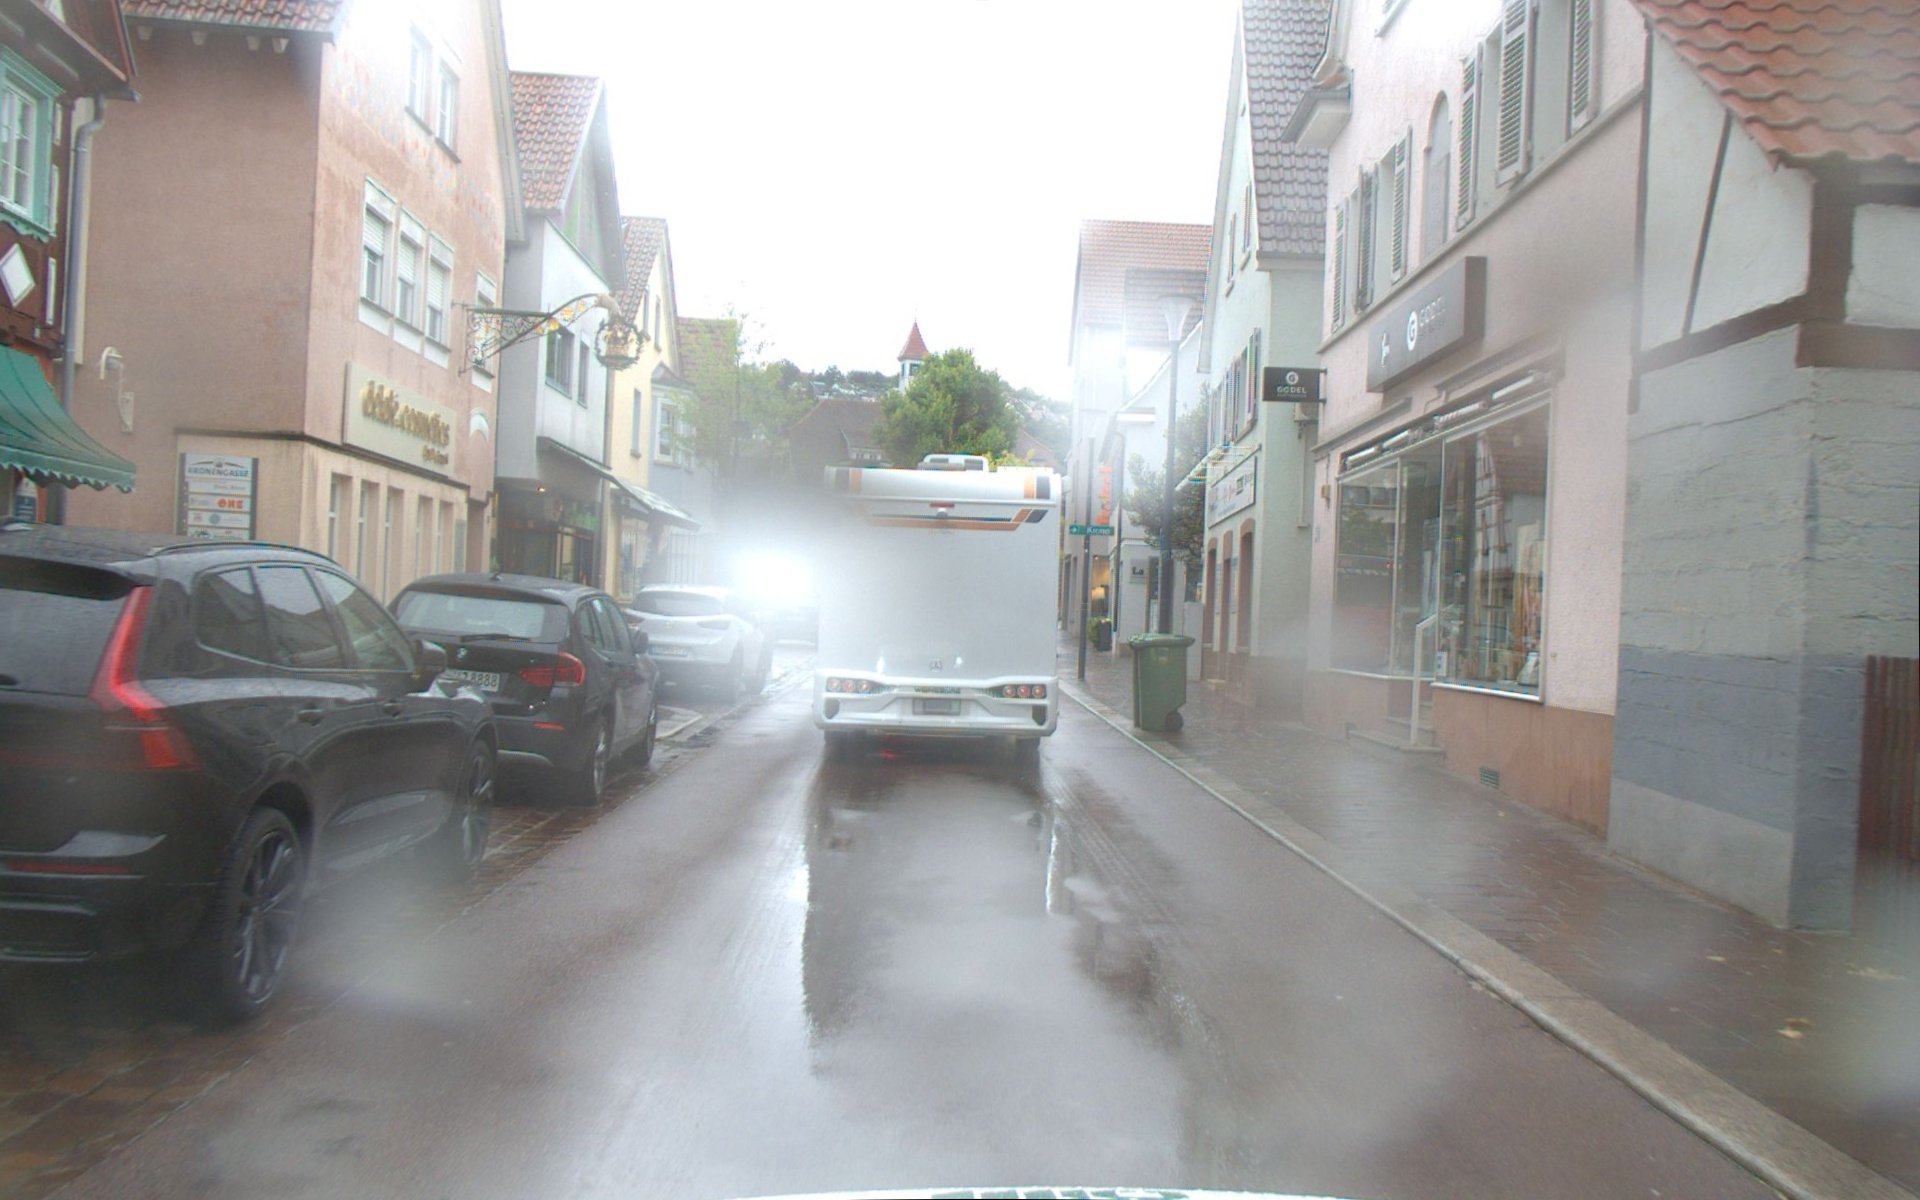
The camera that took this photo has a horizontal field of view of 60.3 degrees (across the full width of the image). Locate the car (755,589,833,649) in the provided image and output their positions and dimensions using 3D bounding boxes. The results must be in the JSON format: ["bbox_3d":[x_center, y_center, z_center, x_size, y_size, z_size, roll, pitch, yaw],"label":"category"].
[{"bbox_3d":[-4.582,0.485,45.480,1.955,1.497,3.994,3,0,-7],"label":"car"}]

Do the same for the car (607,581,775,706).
[{"bbox_3d":[-3.751,0.608,23.682,1.790,1.594,3.998,2,-1,-1],"label":"car"}]

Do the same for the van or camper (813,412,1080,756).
[{"bbox_3d":[-0.315,-0.086,17.797,2.280,2.970,6.387,2,-1,-4],"label":"van or camper"}]

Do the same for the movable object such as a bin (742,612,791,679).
[{"bbox_3d":[-3.343,0.777,28.619,0.799,1.125,0.609,2,-1,-6],"label":"movable object such as a bin"}]

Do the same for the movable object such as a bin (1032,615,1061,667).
[{"bbox_3d":[2.145,1.003,40.916,0.645,1.260,0.621,2,-1,-2],"label":"movable object such as a bin"}]

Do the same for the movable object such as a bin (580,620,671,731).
[{"bbox_3d":[-3.454,0.771,17.131,0.732,1.101,0.763,2,-1,1],"label":"movable object such as a bin"}]

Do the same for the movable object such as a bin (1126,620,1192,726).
[{"bbox_3d":[2.372,0.868,19.777,0.704,1.222,0.578,2,-1,0],"label":"movable object such as a bin"}]

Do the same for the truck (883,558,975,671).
[{"bbox_3d":[-0.977,0.446,47.924,2.412,2.991,6.194,2,-1,-3],"label":"truck"}]

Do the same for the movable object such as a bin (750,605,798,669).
[{"bbox_3d":[-3.509,0.694,31.281,0.799,1.125,0.609,5,-2,-6],"label":"movable object such as a bin"}]

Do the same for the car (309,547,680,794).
[{"bbox_3d":[-3.425,0.502,13.048,1.796,1.579,4.279,2,-1,-2],"label":"car"}]

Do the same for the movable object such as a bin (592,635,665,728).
[{"bbox_3d":[-3.578,0.873,17.880,0.643,0.972,0.562,2,-1,1],"label":"movable object such as a bin"}]

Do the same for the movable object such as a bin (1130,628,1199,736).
[{"bbox_3d":[2.363,0.942,19.184,0.704,1.222,0.573,2,-1,0],"label":"movable object such as a bin"}]

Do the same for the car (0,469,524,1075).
[{"bbox_3d":[-3.288,0.504,6.929,1.796,1.704,4.538,2,-1,-2],"label":"car"}]

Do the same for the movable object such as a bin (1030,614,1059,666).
[{"bbox_3d":[2.121,1.006,41.502,0.645,1.267,0.542,2,-1,-2],"label":"movable object such as a bin"}]

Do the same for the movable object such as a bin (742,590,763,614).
[{"bbox_3d":[-9.490,0.100,75.531,0.805,1.069,0.696,2,-1,-17],"label":"movable object such as a bin"}]

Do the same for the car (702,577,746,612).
[{"bbox_3d":[-14.672,-0.303,102.650,1.964,2.049,3.977,2,-1,-19],"label":"car"}]
